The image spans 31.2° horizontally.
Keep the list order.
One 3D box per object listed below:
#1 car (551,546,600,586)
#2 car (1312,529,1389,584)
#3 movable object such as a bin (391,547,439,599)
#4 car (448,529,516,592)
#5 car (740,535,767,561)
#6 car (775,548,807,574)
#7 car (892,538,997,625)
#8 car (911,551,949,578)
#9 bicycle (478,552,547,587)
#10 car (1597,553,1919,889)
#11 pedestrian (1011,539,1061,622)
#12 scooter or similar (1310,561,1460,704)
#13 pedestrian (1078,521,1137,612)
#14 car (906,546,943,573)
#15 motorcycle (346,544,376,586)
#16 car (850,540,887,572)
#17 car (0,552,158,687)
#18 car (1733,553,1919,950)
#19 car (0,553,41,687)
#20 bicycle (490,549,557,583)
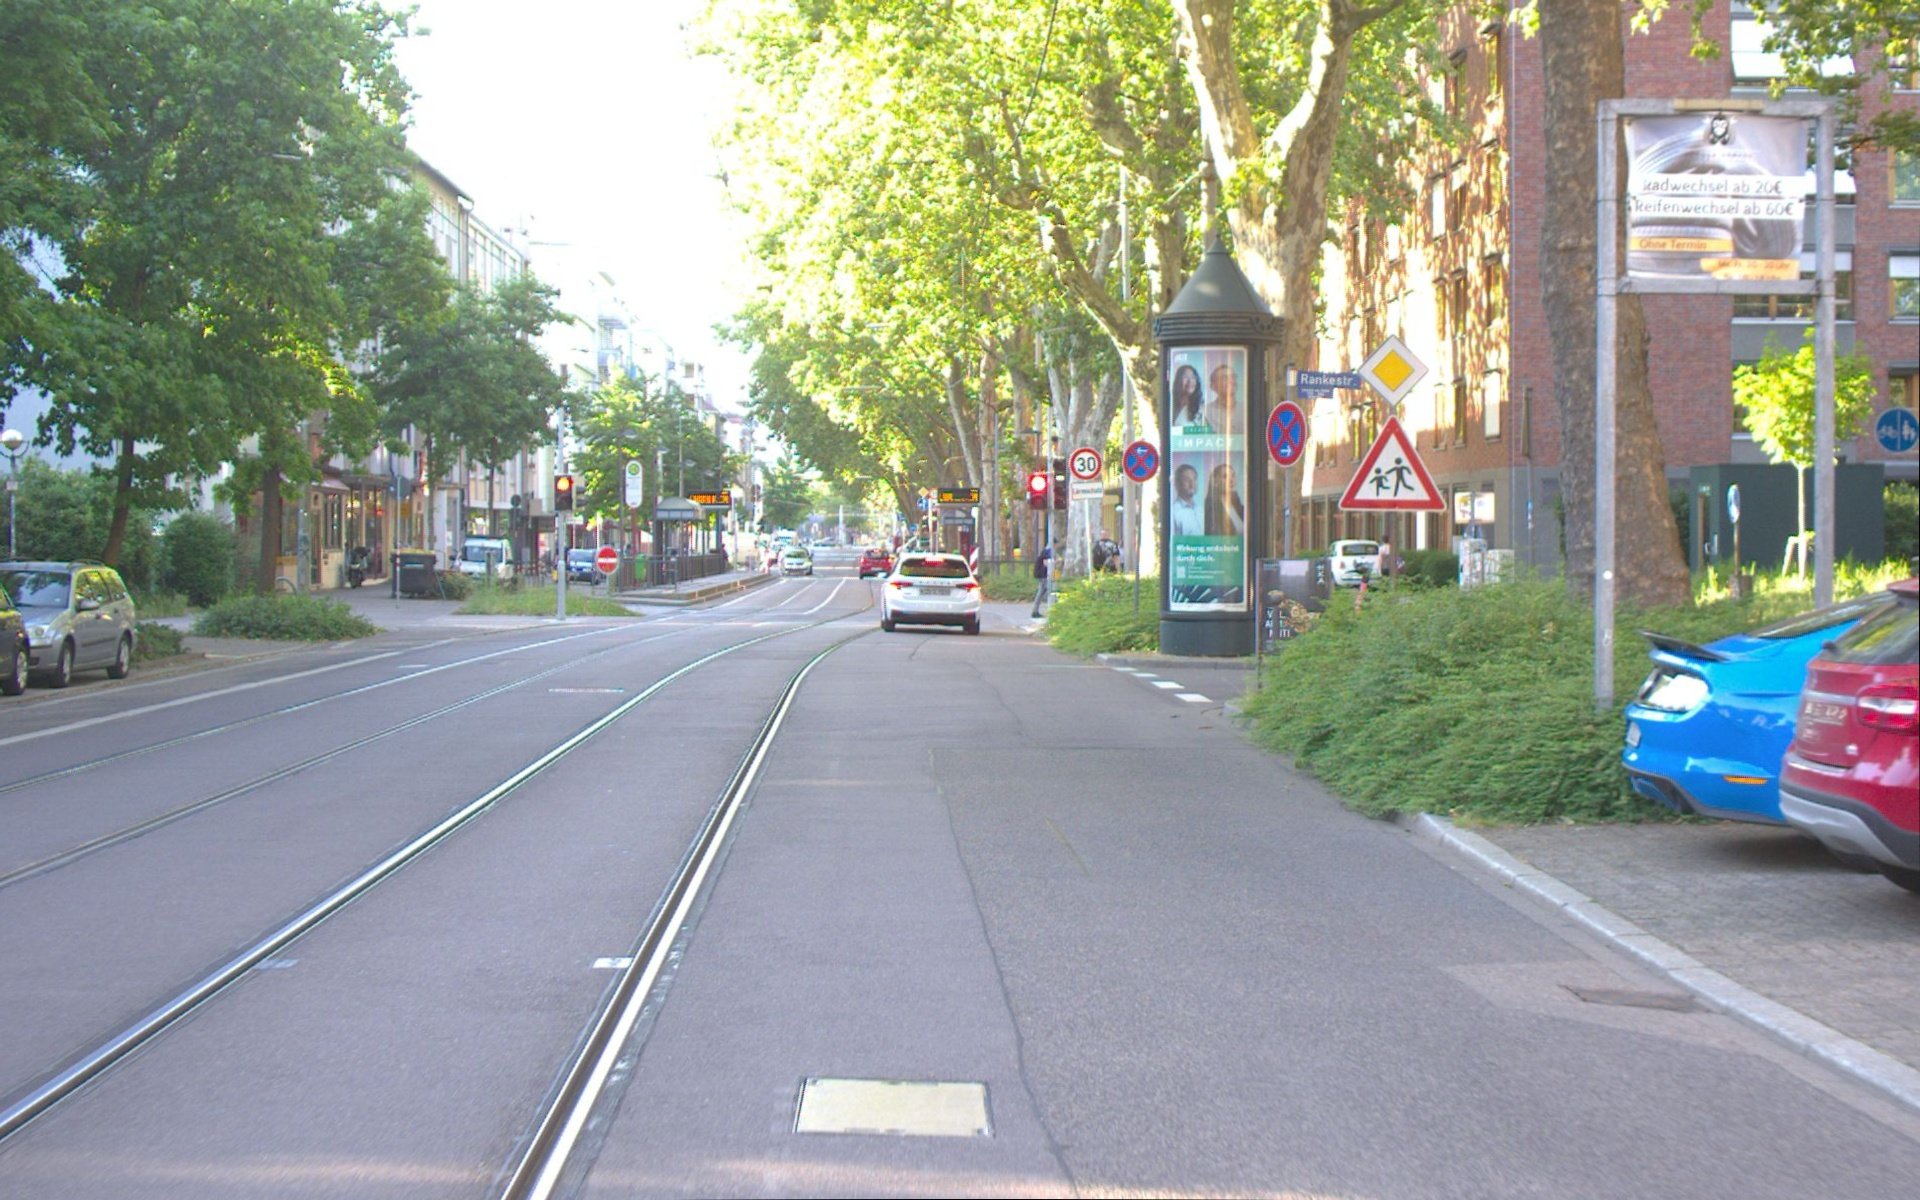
[{"bbox_3d":[-15.586,-1.390,139.432,1.593,1.543,4.000,2,1,-2],"label":"car"},{"bbox_3d":[10.874,-1.217,95.993,1.600,1.490,3.417,0,1,-3],"label":"car"},{"bbox_3d":[-14.945,-0.745,94.253,1.169,1.344,0.783,4,0,-6],"label":"movable object such as a bin"},{"bbox_3d":[-14.927,-1.244,107.518,1.688,1.933,4.000,0,1,-2],"label":"car"},{"bbox_3d":[-15.237,-3.867,254.064,1.866,1.886,4.000,0,1,-2],"label":"car"},{"bbox_3d":[-9.391,-2.164,191.690,1.693,1.414,4.000,0,1,-2],"label":"car"},{"bbox_3d":[-0.309,-0.354,62.058,1.788,1.508,4.000,0,1,-2],"label":"car"},{"bbox_3d":[-1.678,-1.966,188.960,1.993,1.448,4.000,0,1,-2],"label":"car"},{"bbox_3d":[-15.448,-1.049,118.812,2.253,1.070,0.636,3,1,0],"label":"bicycle"},{"bbox_3d":[5.386,0.543,16.598,4.404,1.537,1.817,0,1,6],"label":"car"},{"bbox_3d":[1.675,-0.440,75.945,0.994,1.805,0.864,-1,1,-7],"label":"pedestrian"},{"bbox_3d":[3.730,0.281,30.215,1.208,1.235,0.569,-1,0,-3],"label":"scooter or similar"},{"bbox_3d":[3.113,-0.711,72.612,0.982,1.857,1.016,-4,1,-7],"label":"pedestrian"},{"bbox_3d":[-2.010,-2.295,194.037,1.993,1.448,4.000,0,1,-2],"label":"car"},{"bbox_3d":[-18.535,-1.085,106.350,0.599,1.306,2.222,0,1,-2],"label":"motorcycle"},{"bbox_3d":[-4.434,-2.150,166.352,1.788,1.508,4.000,0,1,-2],"label":"car"},{"bbox_3d":[-11.391,0.194,42.649,1.700,1.545,4.536,1,1,1],"label":"car"},{"bbox_3d":[5.633,0.573,14.318,4.403,1.537,1.952,0,1,1],"label":"car"},{"bbox_3d":[-11.243,0.222,37.219,1.658,1.440,3.950,1,1,-2],"label":"car"},{"bbox_3d":[-15.550,-1.204,122.387,2.253,1.070,0.636,3,1,0],"label":"bicycle"}]
